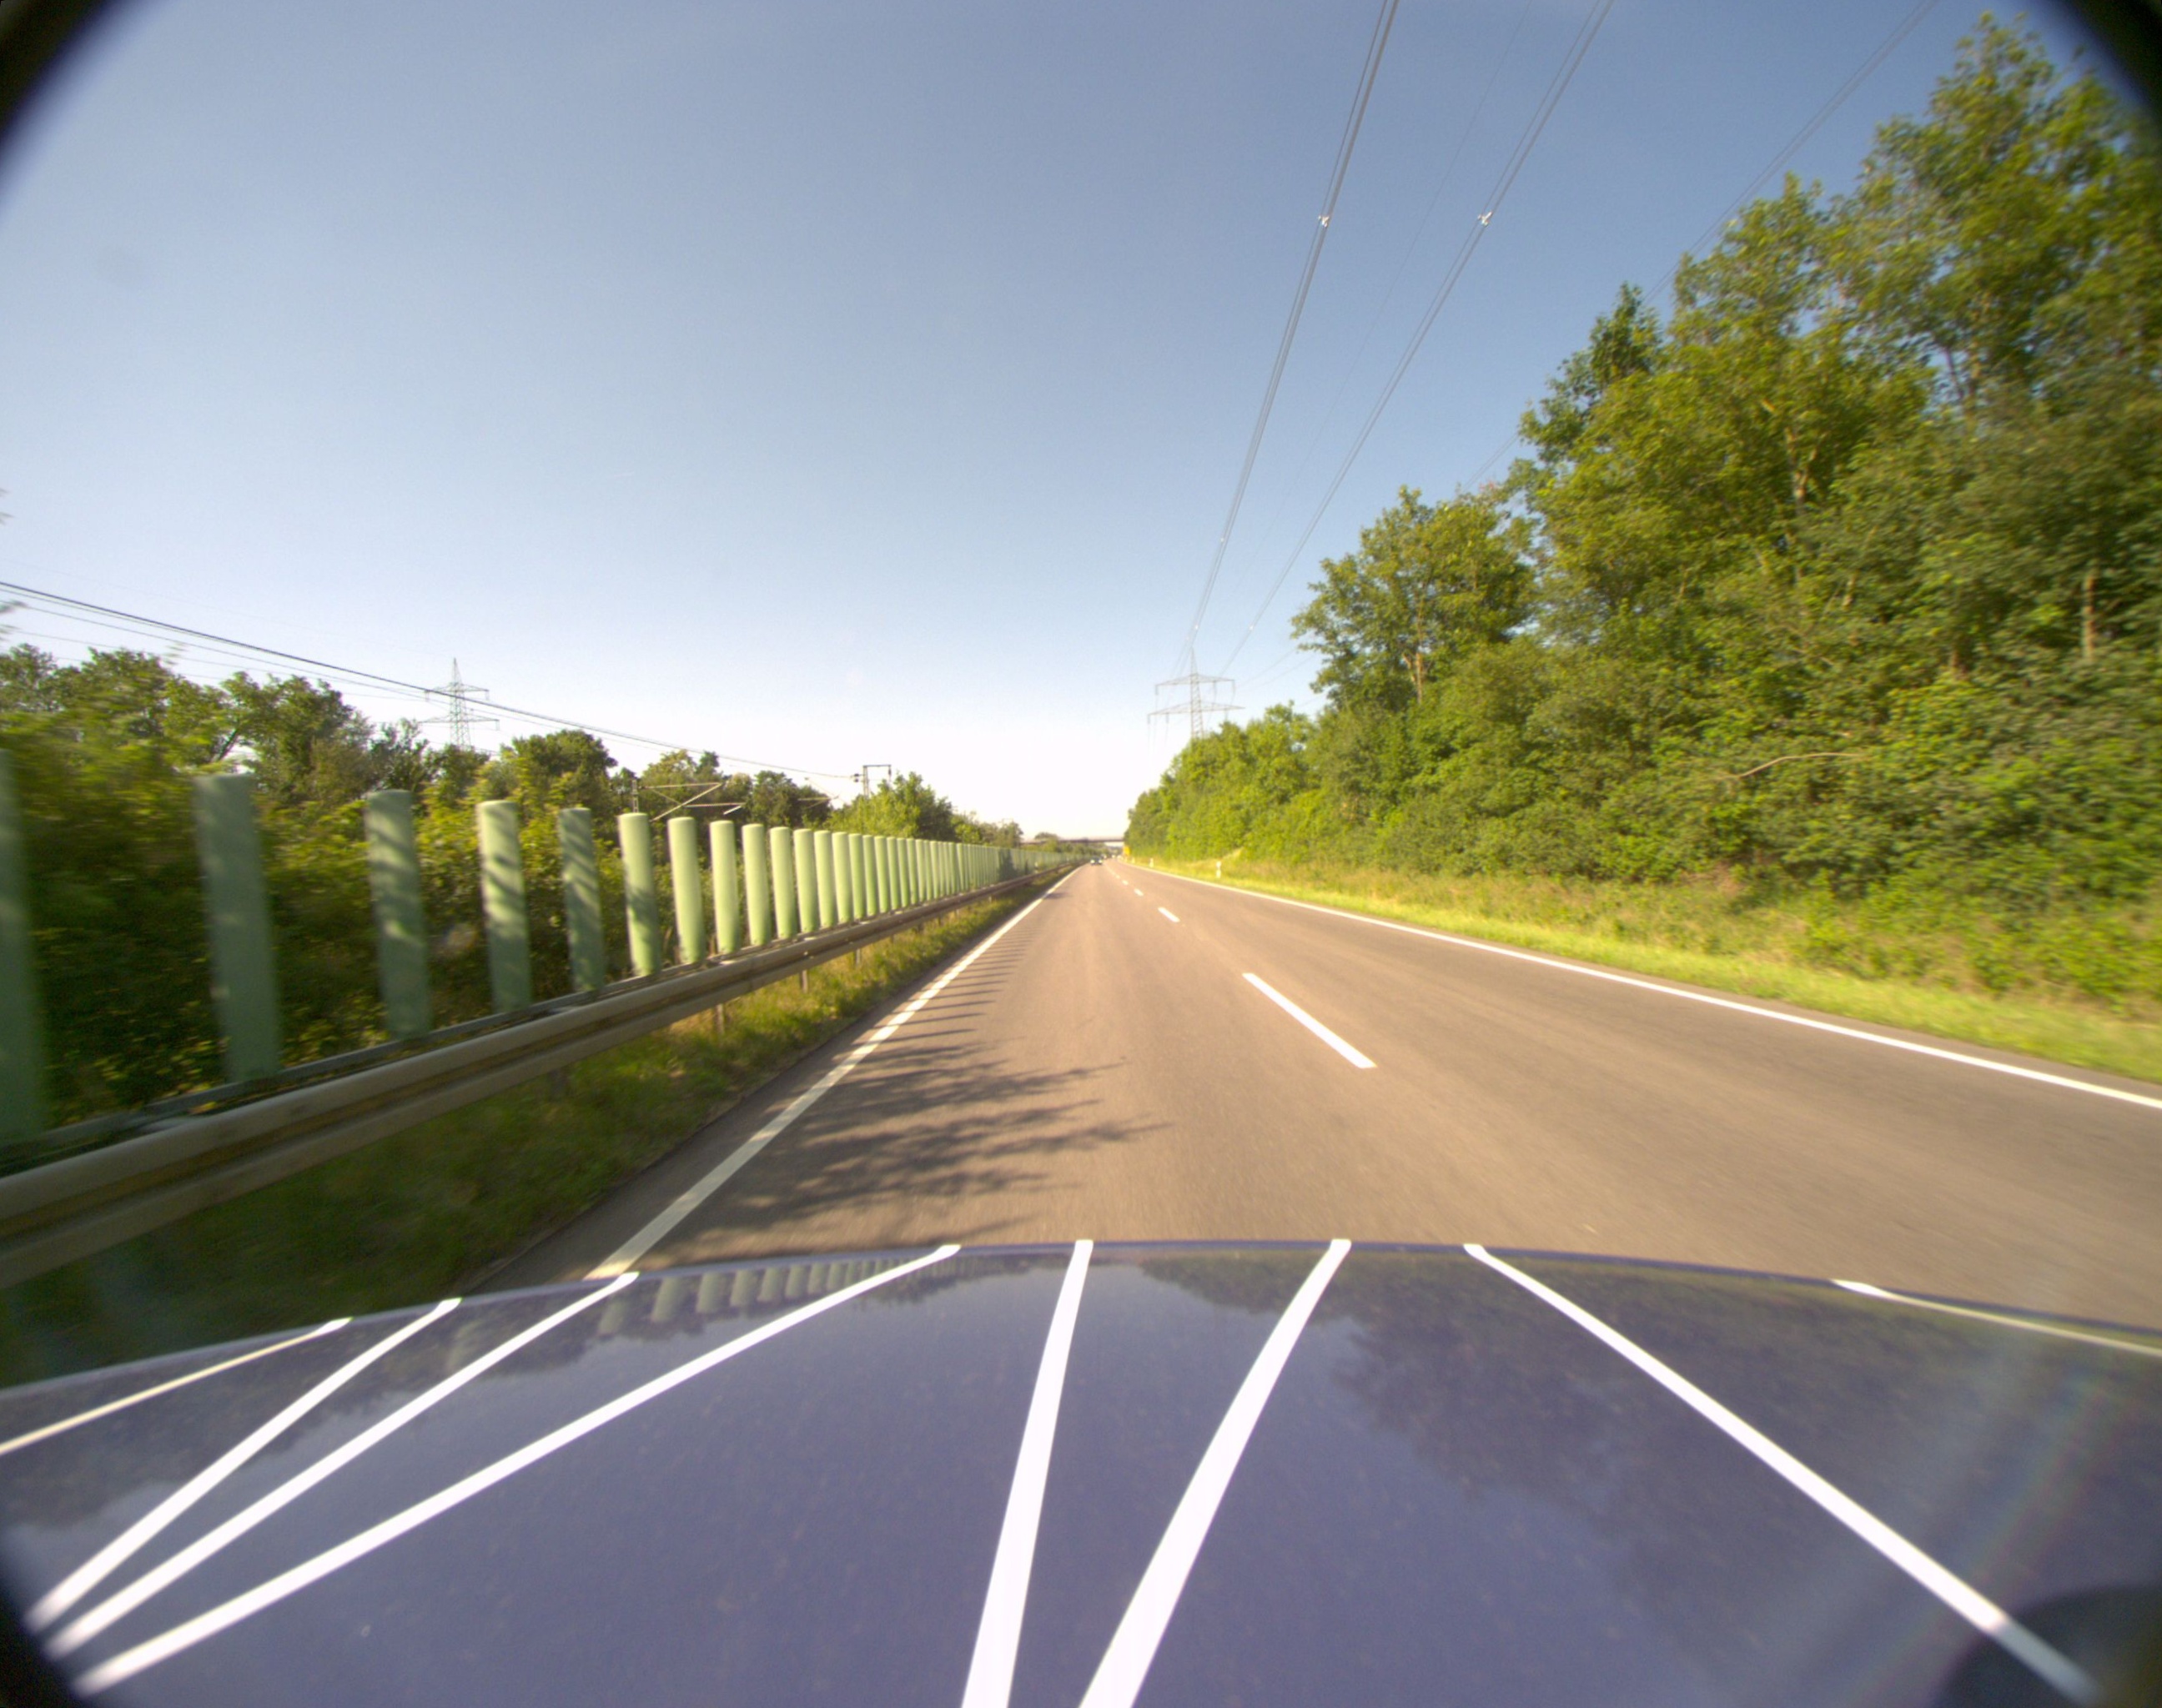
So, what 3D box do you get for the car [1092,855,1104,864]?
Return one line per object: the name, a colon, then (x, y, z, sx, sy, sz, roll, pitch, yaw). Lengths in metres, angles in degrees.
car: (2.846, 0.895, 126.192, 1.787, 1.550, 4.000, -1, 0, 2)
